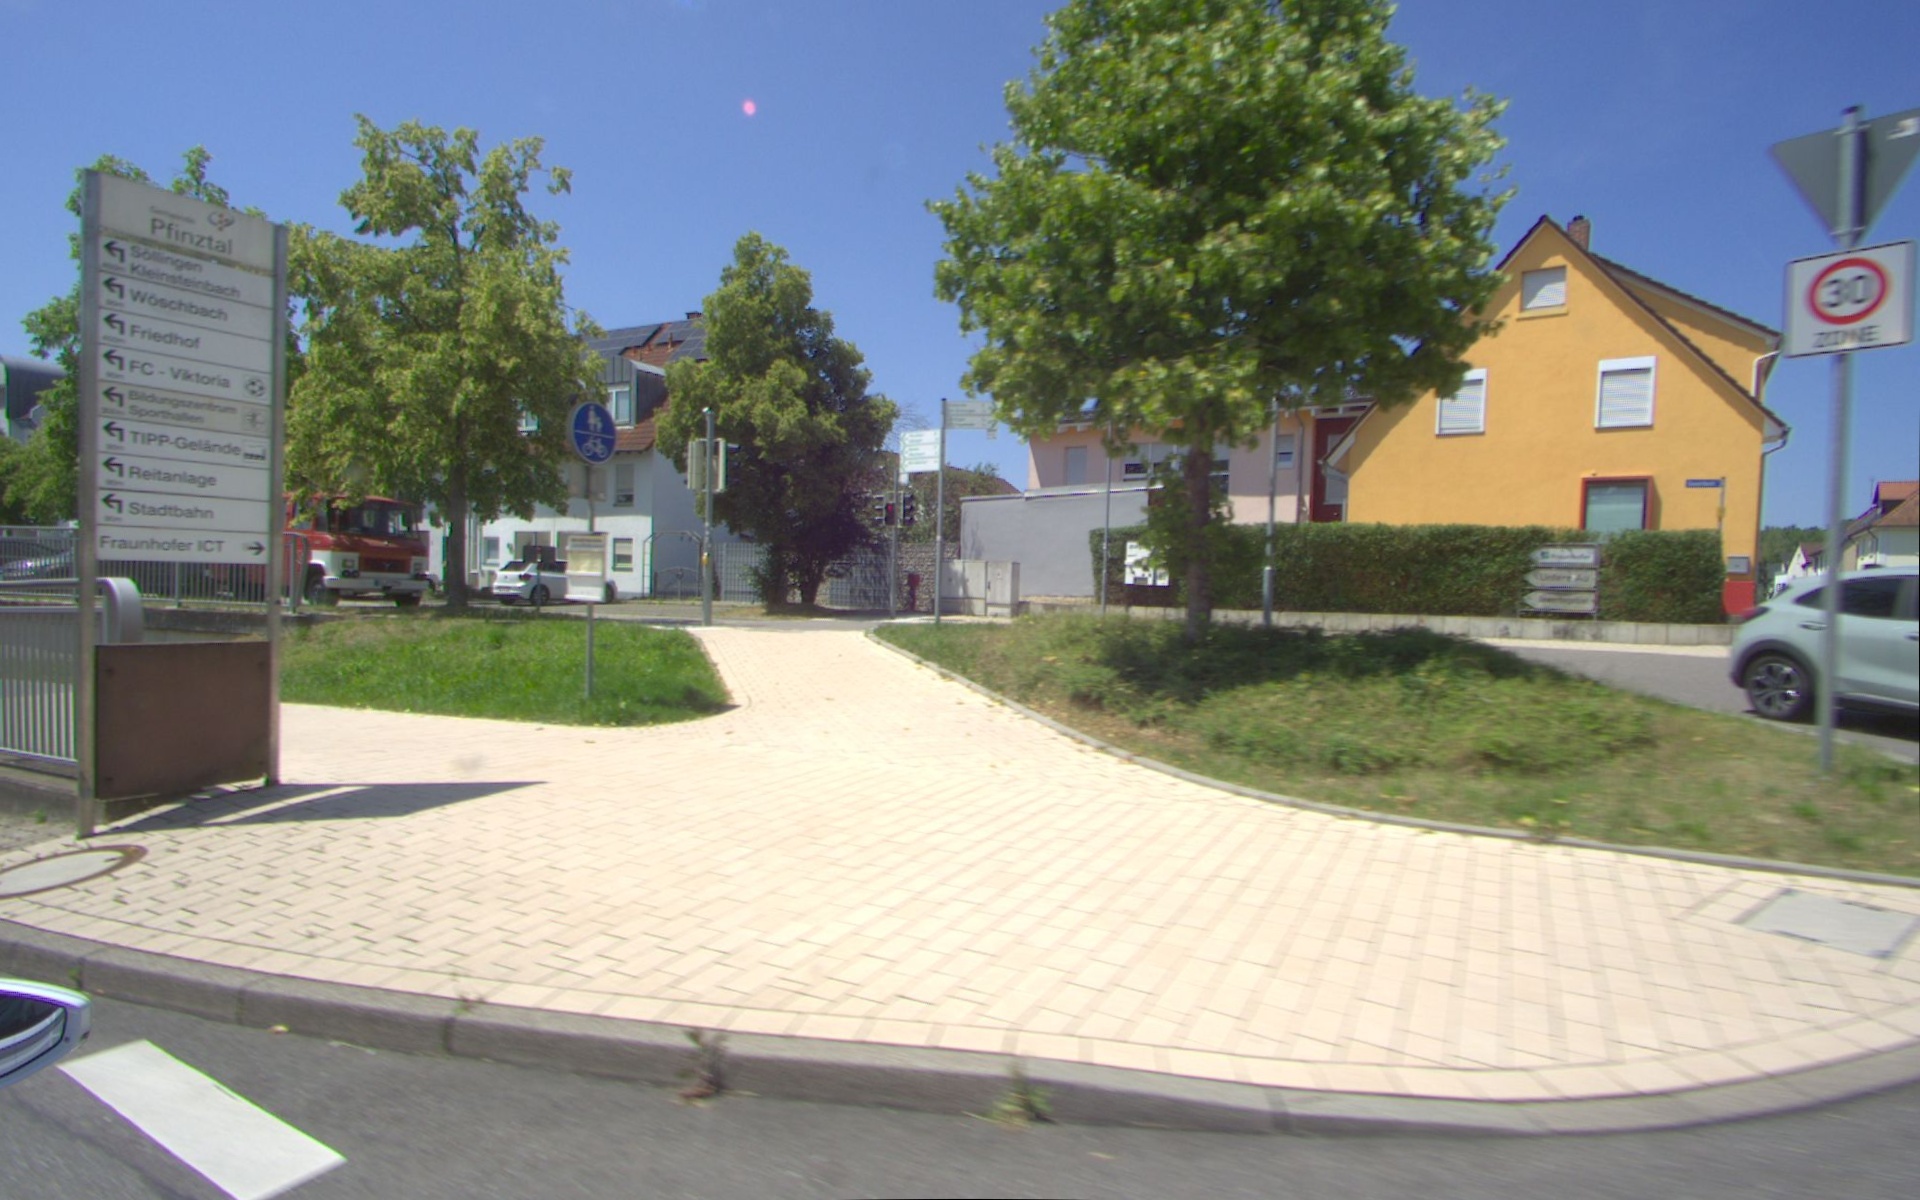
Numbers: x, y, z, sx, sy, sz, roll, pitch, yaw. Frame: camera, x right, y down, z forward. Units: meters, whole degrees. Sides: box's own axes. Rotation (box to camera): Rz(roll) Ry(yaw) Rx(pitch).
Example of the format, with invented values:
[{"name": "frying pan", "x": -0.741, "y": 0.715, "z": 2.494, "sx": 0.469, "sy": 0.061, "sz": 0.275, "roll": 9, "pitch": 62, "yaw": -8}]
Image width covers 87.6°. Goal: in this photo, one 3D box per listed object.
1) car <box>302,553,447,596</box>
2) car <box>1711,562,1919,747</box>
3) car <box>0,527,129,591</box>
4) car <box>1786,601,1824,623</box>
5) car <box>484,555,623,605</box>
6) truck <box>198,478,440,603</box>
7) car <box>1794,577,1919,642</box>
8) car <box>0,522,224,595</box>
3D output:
[{"name": "car", "x": -21.758, "y": -0.970, "z": 37.372, "sx": 1.731, "sy": 1.510, "sz": 4.398, "roll": 2, "pitch": 2, "yaw": 30}, {"name": "car", "x": 8.985, "y": 0.463, "z": 8.504, "sx": 1.742, "sy": 1.557, "sz": 4.121, "roll": -1, "pitch": 3, "yaw": -8}, {"name": "car", "x": -24.062, "y": -1.050, "z": 25.465, "sx": 1.660, "sy": 1.518, "sz": 4.199, "roll": 2, "pitch": 1, "yaw": 30}, {"name": "car", "x": 65.794, "y": 0.890, "z": 78.039, "sx": 1.812, "sy": 1.617, "sz": 3.861, "roll": 1, "pitch": 1, "yaw": 34}, {"name": "car", "x": -13.027, "y": -0.677, "z": 32.329, "sx": 1.731, "sy": 1.498, "sz": 3.931, "roll": 2, "pitch": 2, "yaw": 30}, {"name": "truck", "x": -13.700, "y": -1.210, "z": 21.343, "sx": 5.178, "sy": 2.366, "sz": 2.130, "roll": 2, "pitch": 1, "yaw": 29}, {"name": "car", "x": 24.333, "y": 0.220, "z": 27.331, "sx": 1.972, "sy": 1.617, "sz": 3.976, "roll": 1, "pitch": 1, "yaw": 34}, {"name": "car", "x": -20.007, "y": -0.921, "z": 23.579, "sx": 1.722, "sy": 1.518, "sz": 3.981, "roll": 2, "pitch": 1, "yaw": 30}]
